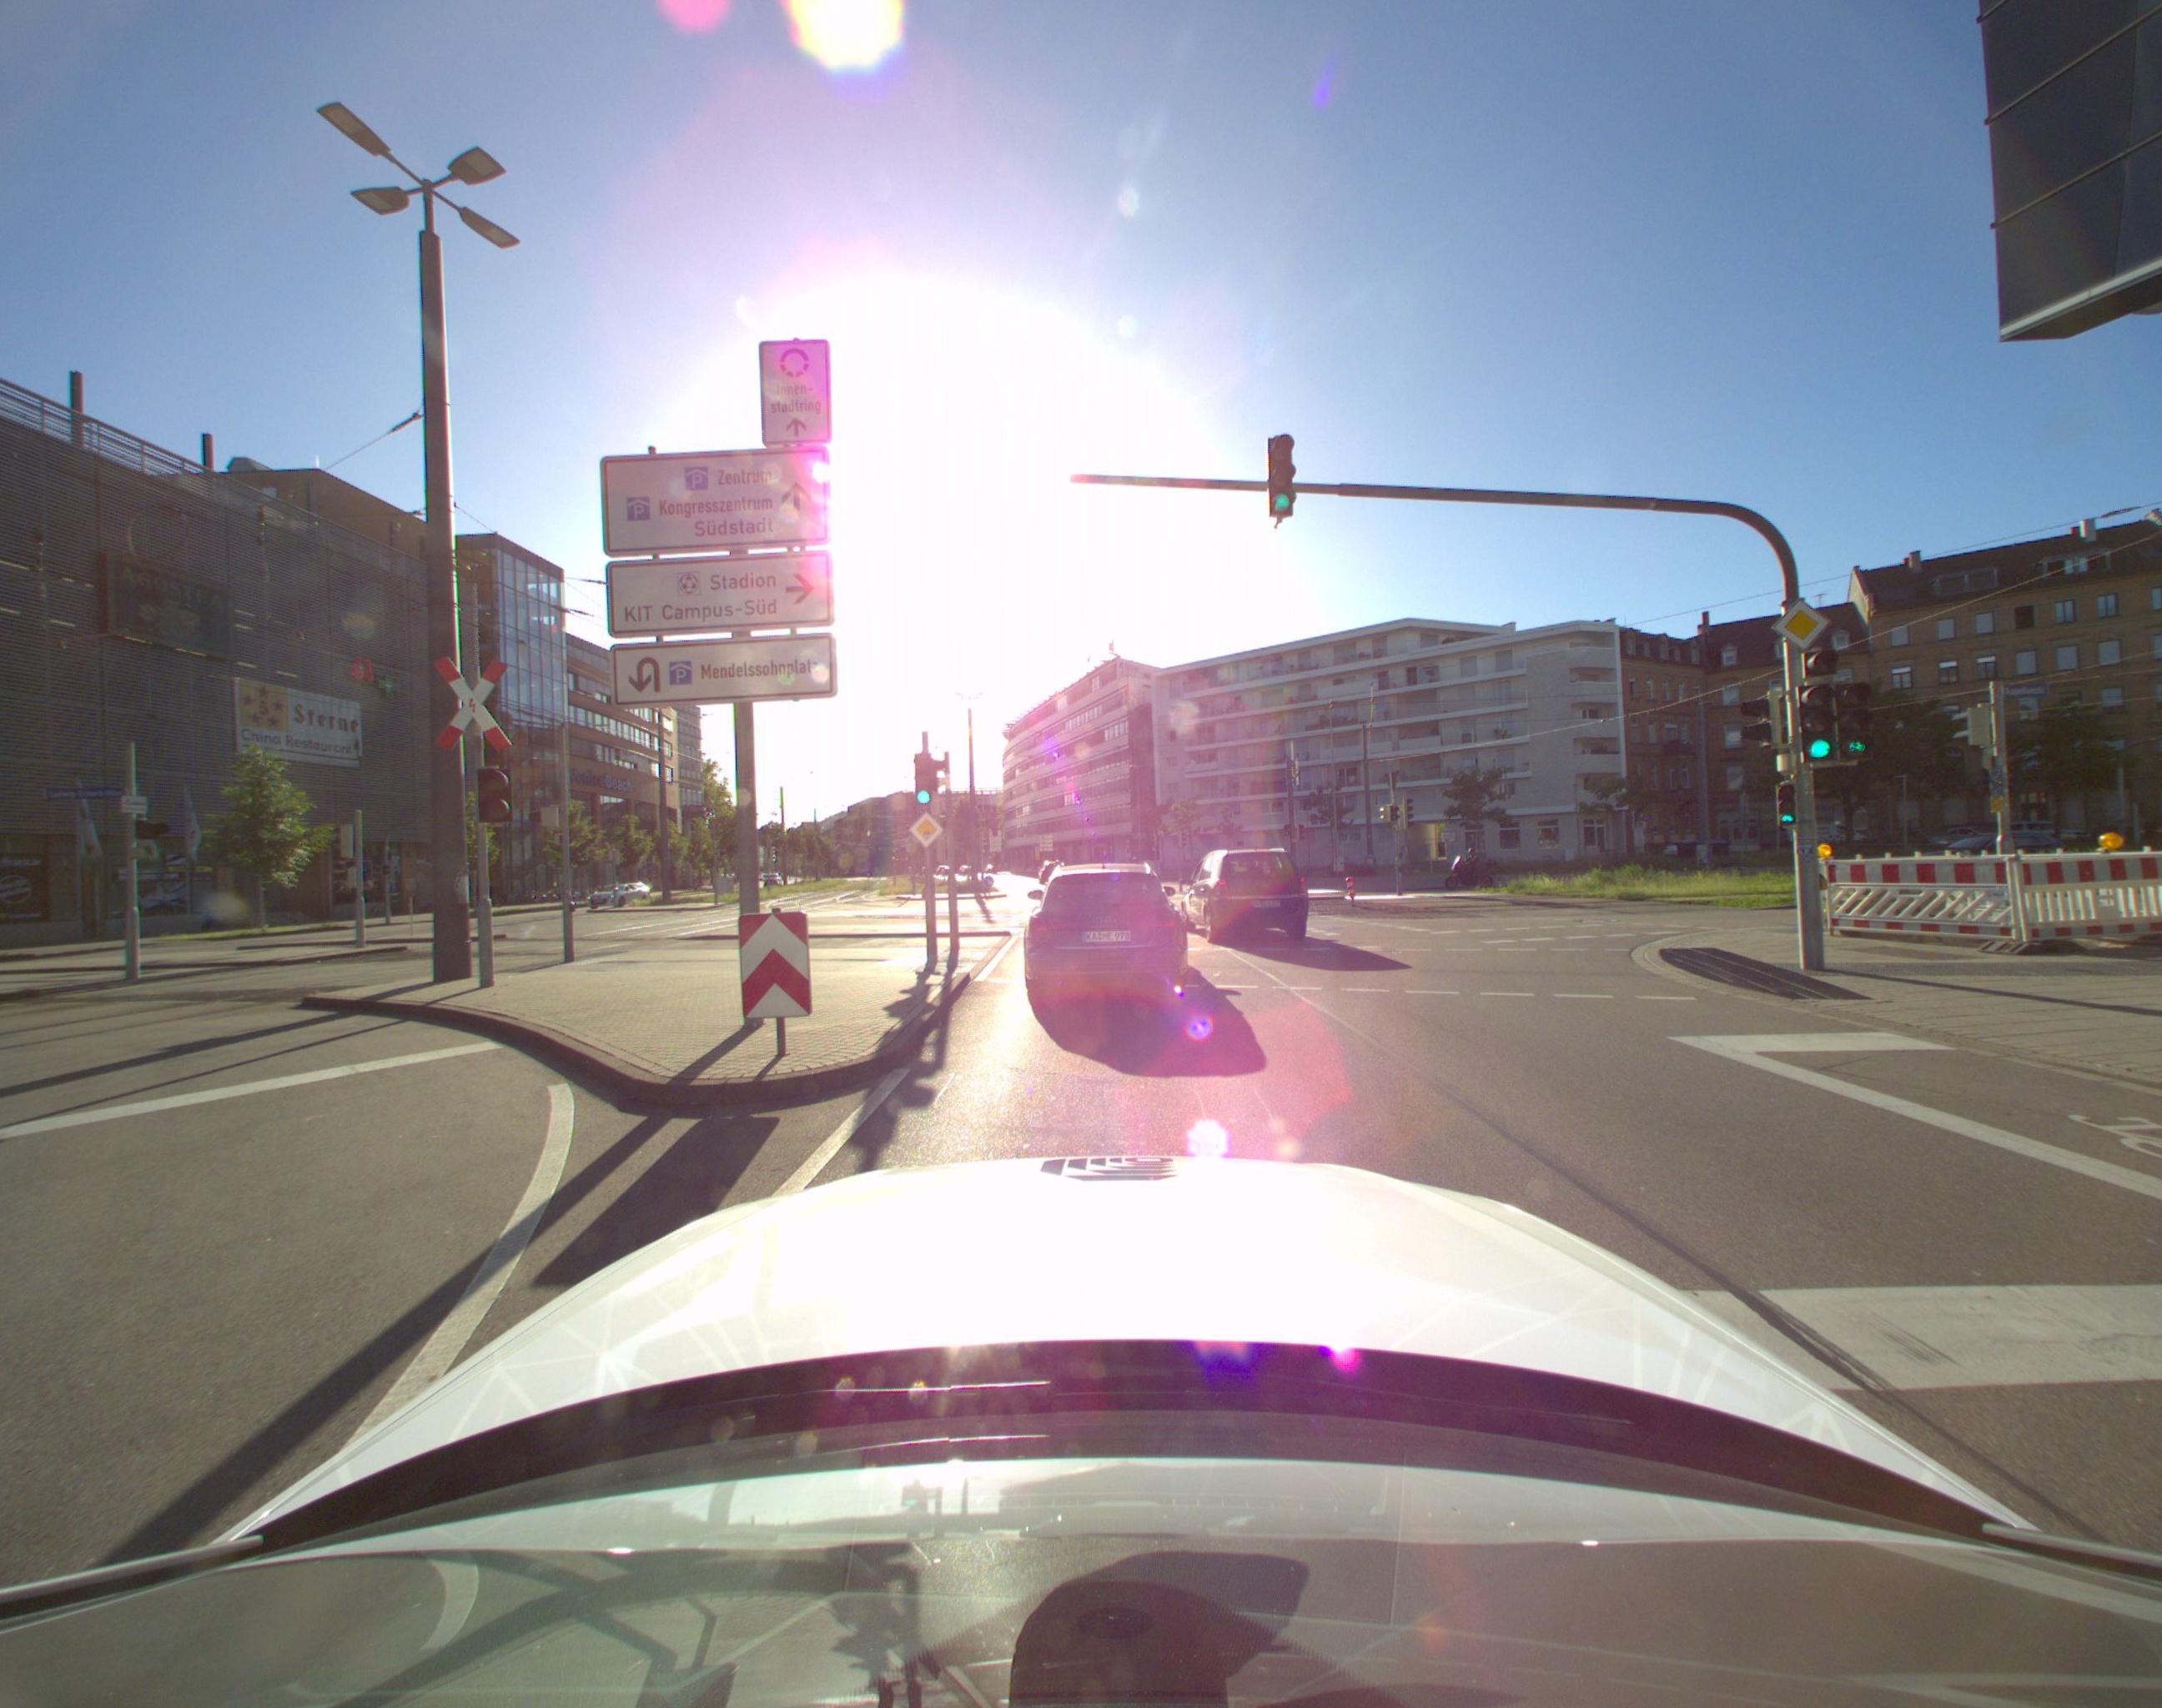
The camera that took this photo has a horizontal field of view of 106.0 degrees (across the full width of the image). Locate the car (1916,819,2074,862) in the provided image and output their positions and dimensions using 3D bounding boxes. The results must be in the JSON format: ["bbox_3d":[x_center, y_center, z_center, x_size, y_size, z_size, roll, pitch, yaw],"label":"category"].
[{"bbox_3d":[36.043,-0.509,32.188,4.229,1.400,1.768,-2,-4,-2],"label":"car"}]

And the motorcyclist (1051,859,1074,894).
[{"bbox_3d":[-0.715,0.871,31.988,0.860,1.326,0.681,-2,-1,-1],"label":"motorcyclist"}]

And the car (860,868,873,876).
[{"bbox_3d":[-47.754,4.062,181.374,1.988,1.706,3.997,-3,-1,-2],"label":"car"}]

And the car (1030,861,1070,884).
[{"bbox_3d":[-2.485,1.424,63.351,2.008,1.715,4.346,-1,0,-18],"label":"car"}]

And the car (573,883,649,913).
[{"bbox_3d":[-28.037,2.591,48.794,1.988,1.545,4.526,-2,0,-2],"label":"car"}]

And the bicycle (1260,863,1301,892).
[{"bbox_3d":[9.219,1.097,37.794,0.769,1.262,2.067,-2,-1,-21],"label":"bicycle"}]

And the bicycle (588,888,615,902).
[{"bbox_3d":[-47.351,4.059,80.430,2.399,1.236,0.747,-3,-1,10],"label":"bicycle"}]

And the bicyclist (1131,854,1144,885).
[{"bbox_3d":[3.132,0.845,45.024,0.651,1.642,0.973,-2,0,5],"label":"bicyclist"}]

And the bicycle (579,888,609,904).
[{"bbox_3d":[-47.233,4.088,78.997,2.591,1.433,0.773,-3,-1,10],"label":"bicycle"}]

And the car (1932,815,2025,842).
[{"bbox_3d":[58.309,-1.603,53.005,1.981,1.486,4.012,-3,-1,11],"label":"car"}]

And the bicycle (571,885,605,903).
[{"bbox_3d":[-43.907,3.561,72.482,2.546,1.433,0.907,-3,-1,10],"label":"bicycle"}]

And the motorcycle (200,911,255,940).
[{"bbox_3d":[-42.004,3.508,40.094,0.673,1.238,1.894,-3,-1,1],"label":"motorcycle"}]

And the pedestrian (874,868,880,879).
[{"bbox_3d":[-35.248,3.295,140.540,0.904,1.824,0.825,-3,-2,-15],"label":"pedestrian"}]

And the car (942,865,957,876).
[{"bbox_3d":[-20.759,2.596,128.055,1.996,1.596,3.981,-3,-1,-13],"label":"car"}]

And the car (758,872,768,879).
[{"bbox_3d":[-82.239,5.671,210.706,2.005,1.684,3.964,-2,-1,-27],"label":"car"}]

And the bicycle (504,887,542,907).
[{"bbox_3d":[-44.010,3.387,64.264,2.355,1.433,1.079,-3,-1,10],"label":"bicycle"}]

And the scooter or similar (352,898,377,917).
[{"bbox_3d":[-43.111,3.225,49.013,0.419,1.110,1.153,-3,-2,2],"label":"scooter or similar"}]

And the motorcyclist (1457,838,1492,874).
[{"bbox_3d":[16.751,0.087,34.676,0.921,1.481,1.173,-2,-1,4],"label":"motorcyclist"}]

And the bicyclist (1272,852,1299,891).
[{"bbox_3d":[9.386,0.796,37.361,0.769,1.706,0.923,-2,-1,-21],"label":"bicyclist"}]

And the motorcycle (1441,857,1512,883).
[{"bbox_3d":[16.822,0.663,34.670,2.442,1.000,1.173,-2,-1,3],"label":"motorcycle"}]

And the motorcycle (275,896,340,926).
[{"bbox_3d":[-43.096,3.166,45.423,0.961,1.446,2.619,-2,-1,5],"label":"motorcycle"}]

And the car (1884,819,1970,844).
[{"bbox_3d":[56.201,-1.470,54.217,1.981,1.354,4.012,-3,-1,11],"label":"car"}]

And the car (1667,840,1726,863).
[{"bbox_3d":[46.779,-0.207,61.909,4.010,1.486,1.982,-3,-1,-28],"label":"car"}]

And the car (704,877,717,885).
[{"bbox_3d":[-96.507,6.995,212.056,2.010,2.013,3.955,-3,0,-37],"label":"car"}]

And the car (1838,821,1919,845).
[{"bbox_3d":[53.994,-1.379,55.216,1.981,1.354,4.012,-3,-1,11],"label":"car"}]

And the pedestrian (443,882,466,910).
[{"bbox_3d":[-42.428,2.859,55.165,0.823,1.824,0.905,-3,-2,3],"label":"pedestrian"}]

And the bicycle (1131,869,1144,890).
[{"bbox_3d":[3.114,1.403,45.022,0.651,1.043,1.932,-2,0,5],"label":"bicycle"}]

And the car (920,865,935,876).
[{"bbox_3d":[-25.145,2.719,133.497,1.998,1.706,3.977,-3,-1,-16],"label":"car"}]

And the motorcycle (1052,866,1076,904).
[{"bbox_3d":[-0.655,1.198,31.862,0.860,1.393,1.893,-2,-1,-1],"label":"motorcycle"}]

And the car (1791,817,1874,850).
[{"bbox_3d":[58.482,-1.539,63.486,4.543,2.310,2.013,-3,-1,40],"label":"car"}]

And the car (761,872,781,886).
[{"bbox_3d":[-38.910,3.114,102.273,1.998,1.640,4.387,-2,-1,-16],"label":"car"}]

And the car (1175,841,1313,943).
[{"bbox_3d":[2.985,0.657,15.763,1.741,1.696,4.258,0,-1,-1],"label":"car"}]

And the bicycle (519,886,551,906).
[{"bbox_3d":[-43.811,3.365,65.334,2.070,1.433,0.863,-3,-1,10],"label":"bicycle"}]

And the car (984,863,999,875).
[{"bbox_3d":[-15.240,2.517,138.066,1.996,1.838,3.981,-3,-1,-13],"label":"car"}]

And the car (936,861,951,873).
[{"bbox_3d":[-22.642,2.118,133.796,1.998,1.706,3.977,-3,-1,-16],"label":"car"}]

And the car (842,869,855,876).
[{"bbox_3d":[-58.096,4.707,203.241,2.007,1.640,4.367,-2,-1,-32],"label":"car"}]

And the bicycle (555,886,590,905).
[{"bbox_3d":[-43.644,3.539,69.850,2.546,1.433,0.907,-3,-1,10],"label":"bicycle"}]

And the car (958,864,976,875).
[{"bbox_3d":[-17.593,2.390,125.586,1.998,1.596,3.976,-3,-1,-17],"label":"car"}]

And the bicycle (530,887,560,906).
[{"bbox_3d":[-43.726,3.485,66.440,1.965,1.433,0.809,-3,-1,10],"label":"bicycle"}]

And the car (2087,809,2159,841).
[{"bbox_3d":[64.116,-1.777,50.170,1.974,1.772,4.025,-4,-2,42],"label":"car"}]

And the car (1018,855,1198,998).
[{"bbox_3d":[0.331,0.746,10.384,1.835,1.454,4.001,-1,0,1],"label":"car"}]

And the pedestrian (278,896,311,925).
[{"bbox_3d":[-44.470,3.204,46.060,0.984,1.566,0.829,-3,-2,1],"label":"pedestrian"}]

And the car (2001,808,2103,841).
[{"bbox_3d":[60.913,-1.834,51.192,1.981,1.772,4.012,-3,-1,11],"label":"car"}]
